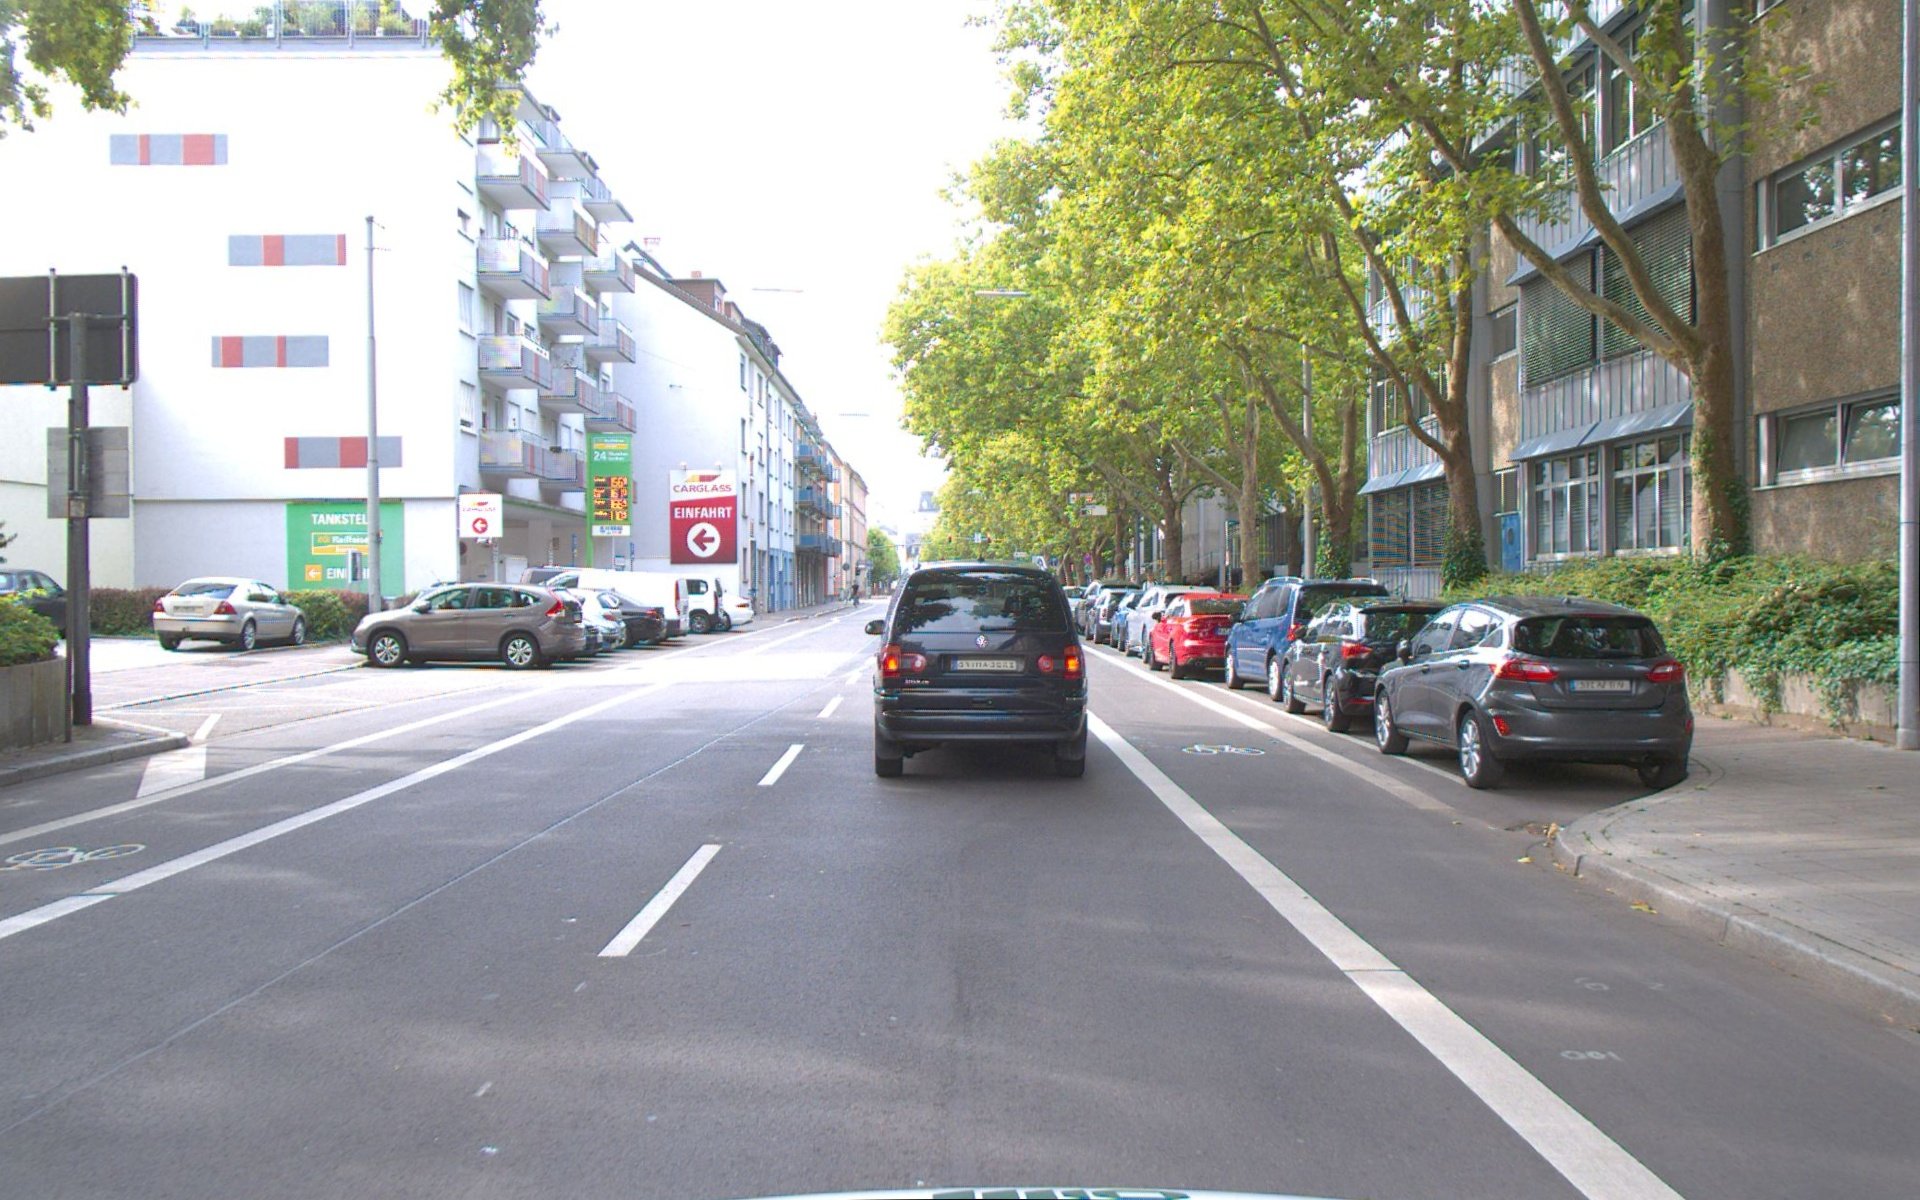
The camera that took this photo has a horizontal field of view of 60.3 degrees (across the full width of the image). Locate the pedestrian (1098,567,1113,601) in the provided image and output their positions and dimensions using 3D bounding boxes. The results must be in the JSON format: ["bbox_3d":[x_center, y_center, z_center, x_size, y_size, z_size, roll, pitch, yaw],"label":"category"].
[{"bbox_3d":[7.816,-0.864,89.035,0.751,1.863,0.516,0,0,0],"label":"pedestrian"}]

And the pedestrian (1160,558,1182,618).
[{"bbox_3d":[7.256,-0.415,56.904,0.629,2.009,0.692,1,2,0],"label":"pedestrian"}]

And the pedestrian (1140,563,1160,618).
[{"bbox_3d":[6.576,-0.324,57.237,0.575,1.870,0.692,1,2,0],"label":"pedestrian"}]

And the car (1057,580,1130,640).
[{"bbox_3d":[4.000,0.272,50.099,1.635,1.669,4.502,2,1,-2],"label":"car"}]

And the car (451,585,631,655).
[{"bbox_3d":[-9.445,0.432,37.484,3.608,1.451,1.753,1,1,-2],"label":"car"}]

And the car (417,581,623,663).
[{"bbox_3d":[-9.330,0.443,35.279,3.859,1.597,1.754,2,1,1],"label":"car"}]

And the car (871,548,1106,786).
[{"bbox_3d":[0.168,0.494,14.404,1.776,1.797,3.737,0,0,-2],"label":"car"}]

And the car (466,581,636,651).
[{"bbox_3d":[-9.694,0.366,39.427,3.608,1.511,1.753,1,1,-2],"label":"car"}]

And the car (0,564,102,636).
[{"bbox_3d":[-20.107,-0.046,35.363,1.777,1.355,3.996,1,2,-6],"label":"car"}]

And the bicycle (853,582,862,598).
[{"bbox_3d":[-7.204,-0.704,116.681,0.618,1.052,2.014,0,-2,-3],"label":"bicycle"}]

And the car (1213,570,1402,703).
[{"bbox_3d":[4.933,0.443,24.096,1.624,1.679,4.418,1,1,-2],"label":"car"}]

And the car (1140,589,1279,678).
[{"bbox_3d":[4.294,0.523,29.062,1.642,1.418,4.460,0,0,-2],"label":"car"}]

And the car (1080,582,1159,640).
[{"bbox_3d":[4.261,0.263,44.764,1.597,1.495,4.316,0,0,-2],"label":"car"}]

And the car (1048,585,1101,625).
[{"bbox_3d":[4.344,0.147,63.161,1.641,1.418,4.461,1,1,0],"label":"car"}]

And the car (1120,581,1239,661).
[{"bbox_3d":[4.495,0.391,34.524,1.693,1.543,4.870,0,0,-2],"label":"car"}]

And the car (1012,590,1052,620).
[{"bbox_3d":[3.652,0.224,84.339,1.609,1.419,3.510,1,1,-4],"label":"car"}]

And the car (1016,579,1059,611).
[{"bbox_3d":[3.685,-0.259,79.183,1.609,1.438,3.413,1,1,-4],"label":"car"}]

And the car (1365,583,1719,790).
[{"bbox_3d":[4.810,0.624,14.244,1.624,1.446,3.866,-1,2,-1],"label":"car"}]

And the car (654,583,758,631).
[{"bbox_3d":[-8.541,0.219,55.756,3.276,1.523,1.595,1,0,-3],"label":"car"}]

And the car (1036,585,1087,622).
[{"bbox_3d":[4.129,0.122,67.902,1.609,1.438,3.413,1,1,-4],"label":"car"}]

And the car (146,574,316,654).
[{"bbox_3d":[-15.328,0.241,35.020,1.722,1.545,4.234,1,1,0],"label":"car"}]

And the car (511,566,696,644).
[{"bbox_3d":[-9.435,0.121,44.054,4.433,1.911,2.047,1,1,0],"label":"car"}]

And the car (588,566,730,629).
[{"bbox_3d":[-9.661,-0.082,53.363,4.220,1.902,1.823,1,0,-2],"label":"car"}]

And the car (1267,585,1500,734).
[{"bbox_3d":[4.769,0.599,19.168,1.624,1.446,3.946,-1,2,-1],"label":"car"}]

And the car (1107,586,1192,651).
[{"bbox_3d":[4.534,0.414,39.964,1.588,1.410,4.001,2,1,1],"label":"car"}]

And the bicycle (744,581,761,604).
[{"bbox_3d":[-9.373,-0.341,74.641,0.618,1.052,2.014,1,0,-4],"label":"bicycle"}]

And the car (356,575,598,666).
[{"bbox_3d":[-9.482,0.387,32.711,4.169,1.633,1.968,1,2,0],"label":"car"}]

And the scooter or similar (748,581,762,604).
[{"bbox_3d":[-9.519,-0.365,76.778,0.619,1.052,2.012,-1,1,-6],"label":"scooter or similar"}]

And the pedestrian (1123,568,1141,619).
[{"bbox_3d":[5.945,-0.230,57.183,0.575,1.731,0.508,1,2,0],"label":"pedestrian"}]

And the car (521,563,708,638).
[{"bbox_3d":[-9.691,0.006,46.657,4.816,1.936,2.000,2,1,-1],"label":"car"}]

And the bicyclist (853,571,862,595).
[{"bbox_3d":[-7.222,-1.188,116.859,0.640,1.639,0.655,0,-2,-3],"label":"bicyclist"}]

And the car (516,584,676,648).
[{"bbox_3d":[-9.079,0.383,41.455,3.607,1.470,1.753,1,1,-1],"label":"car"}]
